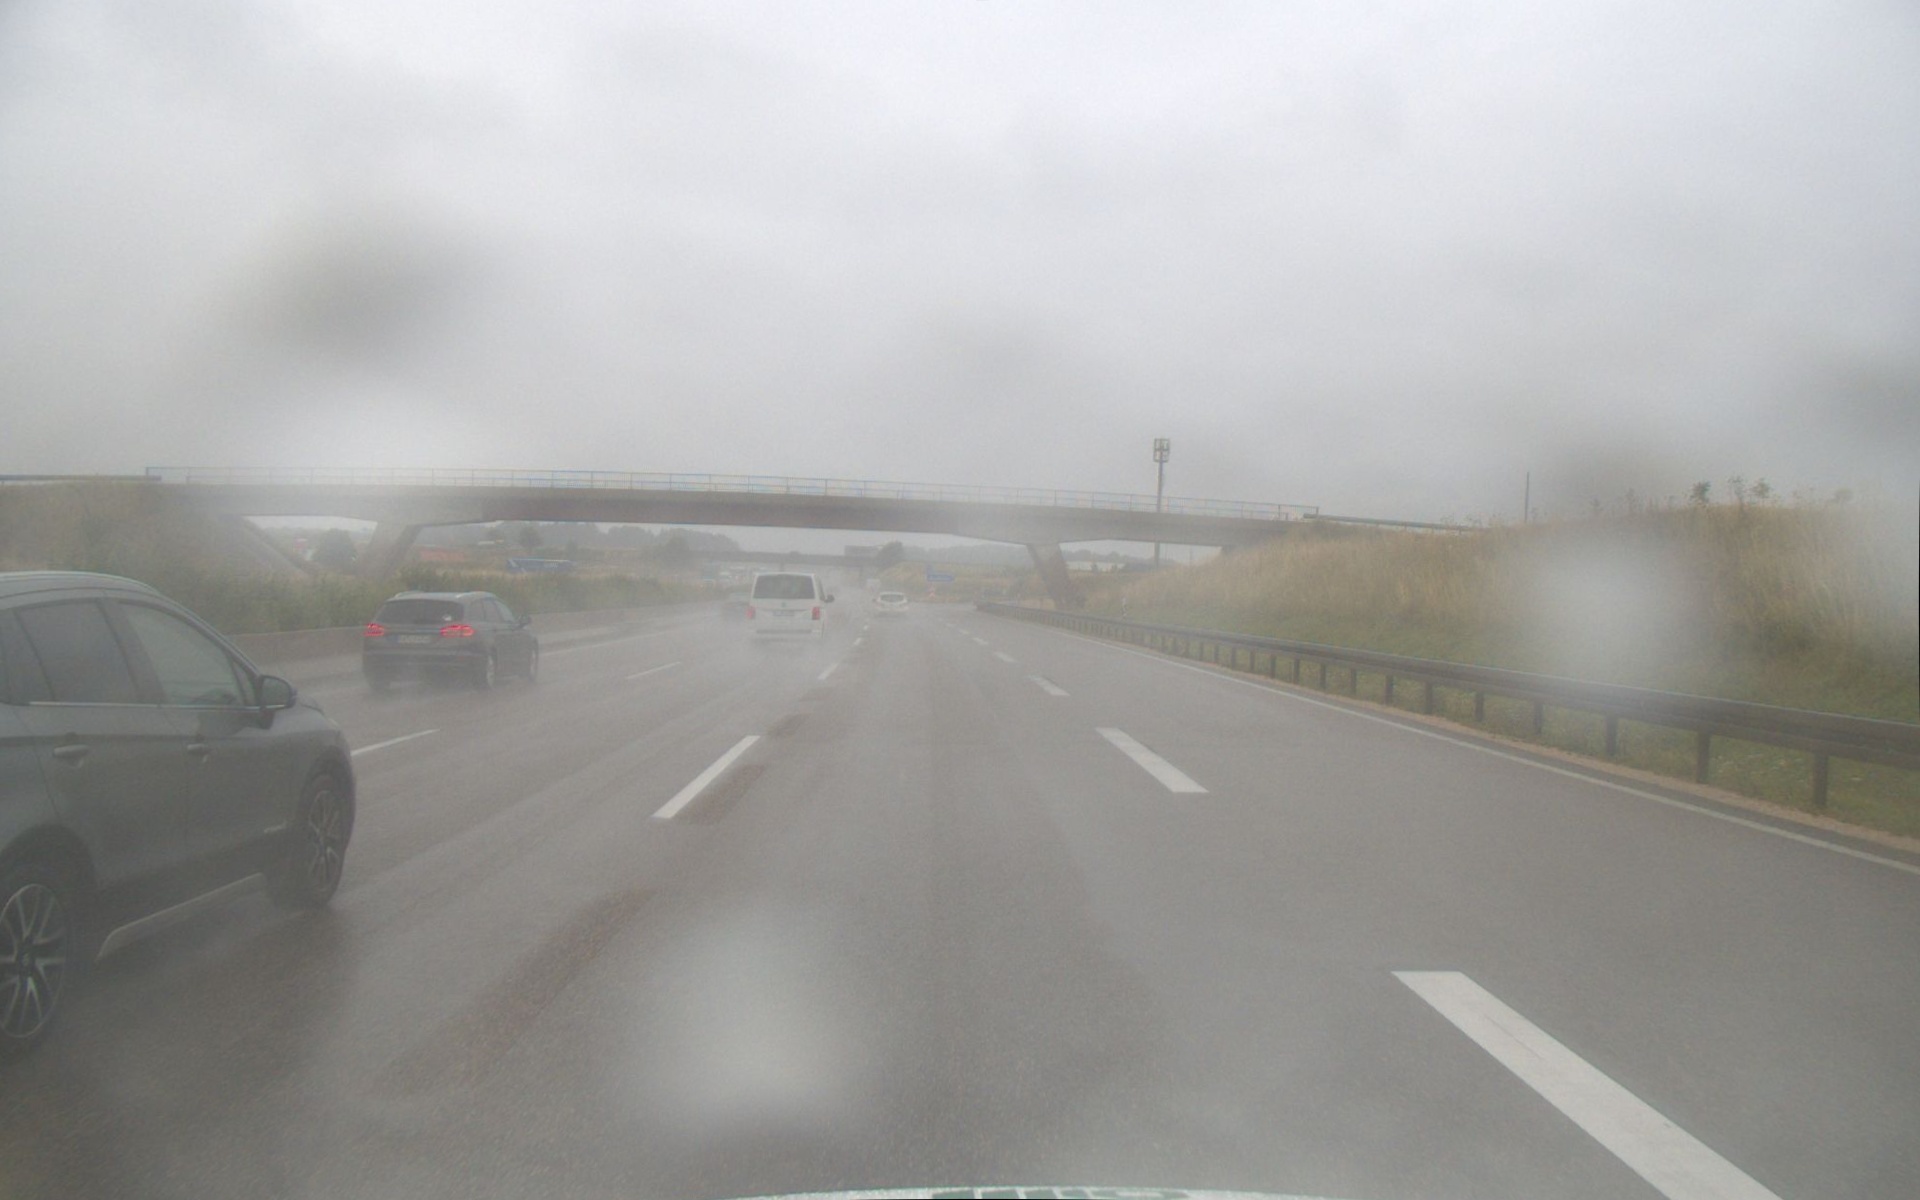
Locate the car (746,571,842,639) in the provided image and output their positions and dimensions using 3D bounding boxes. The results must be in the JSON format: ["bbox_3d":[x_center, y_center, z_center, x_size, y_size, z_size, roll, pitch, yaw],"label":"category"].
[{"bbox_3d":[-4.164,0.124,42.040,1.858,1.613,4.001,1,0,2],"label":"car"}]

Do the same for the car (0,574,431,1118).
[{"bbox_3d":[-3.702,0.675,6.638,1.809,1.539,4.754,1,0,-3],"label":"car"}]

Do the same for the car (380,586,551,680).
[{"bbox_3d":[-7.905,0.489,26.785,1.580,1.378,3.999,1,0,-1],"label":"car"}]

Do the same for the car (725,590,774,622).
[{"bbox_3d":[-8.788,0.237,69.142,1.437,1.279,3.341,1,0,3],"label":"car"}]

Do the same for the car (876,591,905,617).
[{"bbox_3d":[-3.458,0.203,82.527,1.438,1.229,2.990,1,0,-2],"label":"car"}]
